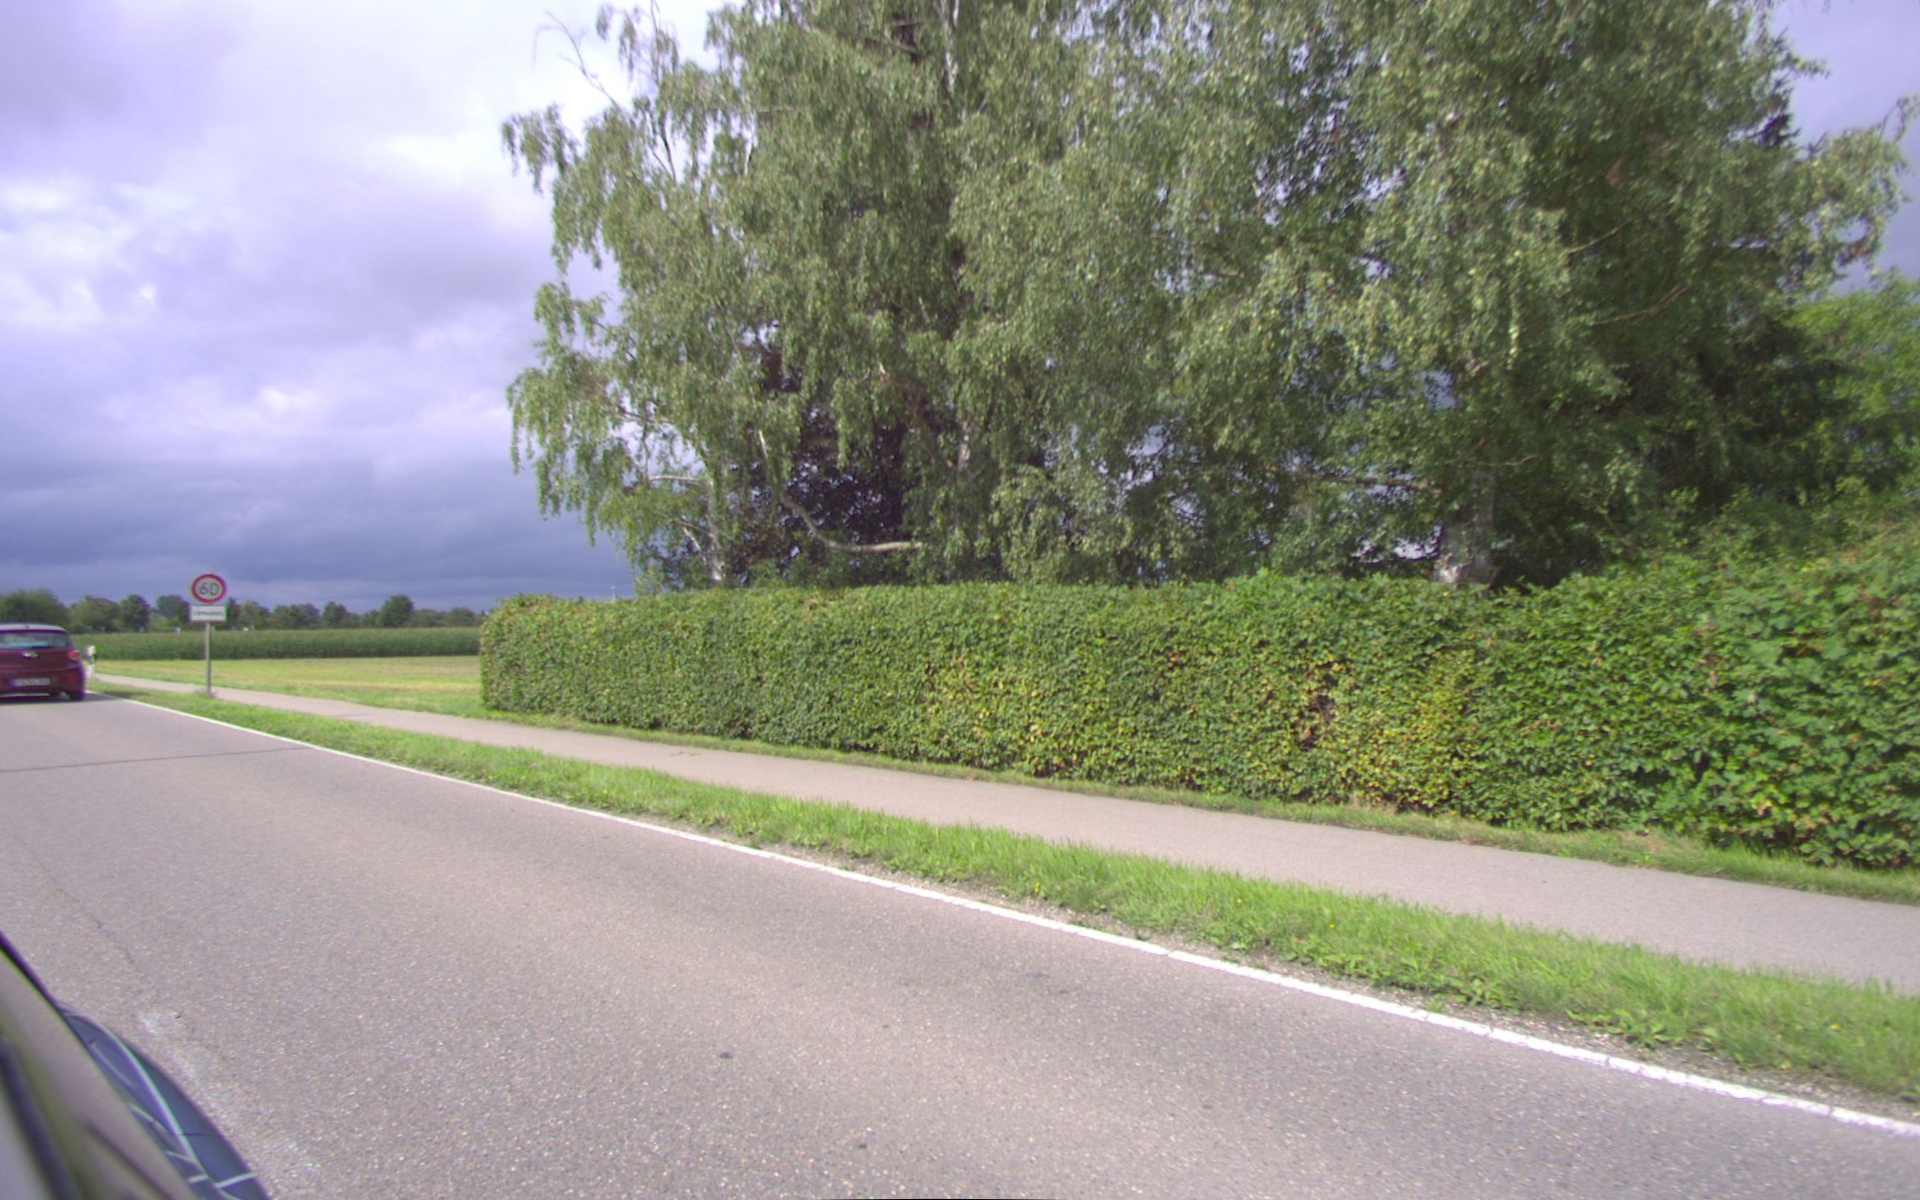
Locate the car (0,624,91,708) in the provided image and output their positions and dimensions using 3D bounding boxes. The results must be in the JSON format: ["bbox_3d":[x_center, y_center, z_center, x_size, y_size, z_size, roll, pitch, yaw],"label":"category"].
[{"bbox_3d":[-18.315,1.233,19.536,3.997,1.482,1.722,-2,-3,41],"label":"car"}]
